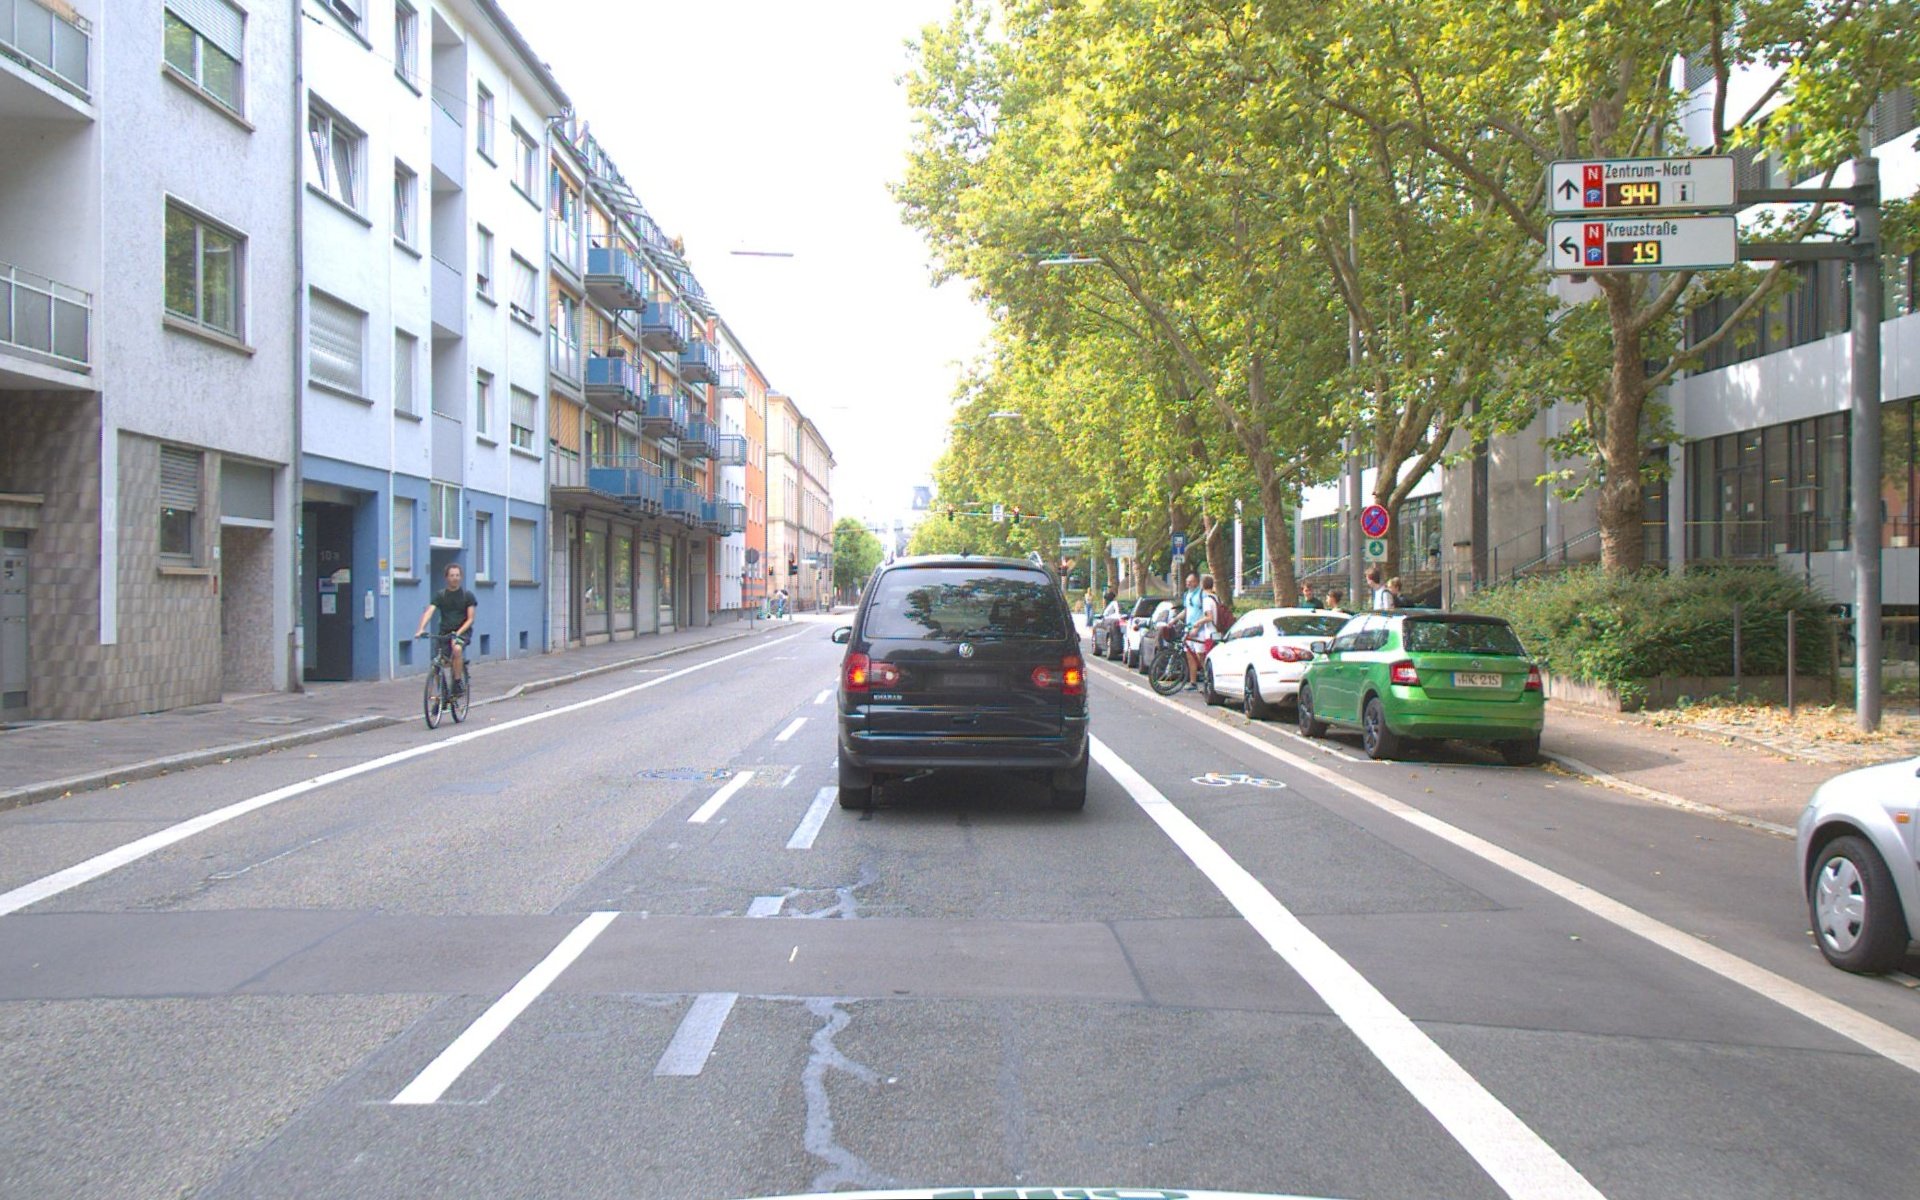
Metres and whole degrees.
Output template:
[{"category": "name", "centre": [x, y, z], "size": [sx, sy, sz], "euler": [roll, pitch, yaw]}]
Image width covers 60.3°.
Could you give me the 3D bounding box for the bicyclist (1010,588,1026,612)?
[{"category": "bicyclist", "centre": [3.693, 0.011, 105.522], "size": [0.899, 1.491, 0.568], "euler": [1, 0, -14]}]

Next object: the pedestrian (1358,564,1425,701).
[{"category": "pedestrian", "centre": [6.513, 0.483, 25.004], "size": [0.777, 2.032, 0.750], "euler": [1, 0, -1]}]

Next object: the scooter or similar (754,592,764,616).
[{"category": "scooter or similar", "centre": [-10.210, 0.213, 83.893], "size": [0.370, 1.204, 1.389], "euler": [0, -1, -1]}]

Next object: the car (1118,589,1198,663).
[{"category": "car", "centre": [4.389, 0.554, 36.931], "size": [1.504, 1.570, 2.600], "euler": [2, 0, 2]}]

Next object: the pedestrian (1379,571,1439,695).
[{"category": "pedestrian", "centre": [6.988, 0.510, 25.756], "size": [0.706, 1.887, 0.703], "euler": [1, 0, -1]}]

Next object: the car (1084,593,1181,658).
[{"category": "car", "centre": [4.228, 0.591, 41.068], "size": [1.664, 1.450, 4.419], "euler": [2, 0, -4]}]

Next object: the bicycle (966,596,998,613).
[{"category": "bicycle", "centre": [1.383, 0.302, 103.913], "size": [1.890, 1.046, 0.582], "euler": [1, 0, -11]}]

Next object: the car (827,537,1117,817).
[{"category": "car", "centre": [0.015, 0.471, 12.794], "size": [1.836, 1.775, 4.572], "euler": [0, 0, -2]}]

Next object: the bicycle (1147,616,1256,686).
[{"category": "bicycle", "centre": [4.018, 0.846, 27.521], "size": [1.704, 1.125, 0.550], "euler": [1, 0, -13]}]

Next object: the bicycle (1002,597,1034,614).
[{"category": "bicycle", "centre": [3.696, 0.371, 105.519], "size": [1.892, 1.046, 0.581], "euler": [1, 0, -14]}]

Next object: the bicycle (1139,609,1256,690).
[{"category": "bicycle", "centre": [3.760, 0.784, 26.192], "size": [1.762, 1.238, 0.550], "euler": [1, 0, -19]}]

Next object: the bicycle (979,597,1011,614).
[{"category": "bicycle", "centre": [2.156, 0.347, 102.388], "size": [1.890, 1.046, 0.582], "euler": [1, 0, -11]}]

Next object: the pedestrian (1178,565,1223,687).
[{"category": "pedestrian", "centre": [3.955, 0.422, 27.249], "size": [0.466, 1.968, 0.742], "euler": [1, 0, -12]}]

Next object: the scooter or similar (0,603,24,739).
[{"category": "scooter or similar", "centre": [-8.972, 0.653, 14.937], "size": [0.342, 1.243, 1.201], "euler": [1, 0, -1]}]

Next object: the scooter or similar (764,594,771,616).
[{"category": "scooter or similar", "centre": [-10.489, 0.264, 90.179], "size": [0.370, 1.167, 1.141], "euler": [0, -1, -4]}]

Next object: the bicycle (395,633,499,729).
[{"category": "bicycle", "centre": [-6.149, 0.940, 19.926], "size": [0.633, 1.032, 2.076], "euler": [-1, 0, -1]}]

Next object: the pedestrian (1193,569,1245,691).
[{"category": "pedestrian", "centre": [4.067, 0.468, 25.977], "size": [0.511, 1.877, 0.741], "euler": [1, 0, -16]}]

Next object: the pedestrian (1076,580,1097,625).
[{"category": "pedestrian", "centre": [5.222, 0.117, 68.209], "size": [0.696, 1.814, 1.033], "euler": [-2, 0, -2]}]

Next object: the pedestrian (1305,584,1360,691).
[{"category": "pedestrian", "centre": [6.013, 0.599, 26.717], "size": [0.706, 1.687, 0.655], "euler": [1, 0, -1]}]

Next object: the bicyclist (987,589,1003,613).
[{"category": "bicyclist", "centre": [2.179, 0.071, 102.378], "size": [0.898, 1.491, 0.568], "euler": [1, 0, -12]}]

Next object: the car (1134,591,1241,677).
[{"category": "car", "centre": [4.363, 0.610, 32.132], "size": [1.497, 1.528, 3.659], "euler": [2, 0, -1]}]

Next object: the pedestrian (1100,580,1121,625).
[{"category": "pedestrian", "centre": [6.208, 0.095, 68.194], "size": [0.700, 1.831, 1.033], "euler": [-2, 0, -2]}]

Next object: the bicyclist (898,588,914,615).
[{"category": "bicyclist", "centre": [-3.159, 0.079, 96.987], "size": [0.839, 1.594, 0.576], "euler": [1, 0, -9]}]

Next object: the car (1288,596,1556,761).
[{"category": "car", "centre": [4.748, 0.741, 17.536], "size": [1.556, 1.475, 3.803], "euler": [2, 0, -3]}]

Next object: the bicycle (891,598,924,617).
[{"category": "bicycle", "centre": [-3.069, 0.441, 97.004], "size": [1.889, 1.046, 0.582], "euler": [1, 0, -10]}]

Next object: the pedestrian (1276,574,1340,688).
[{"category": "pedestrian", "centre": [5.767, 0.512, 27.469], "size": [0.853, 1.848, 0.780], "euler": [1, 0, -1]}]

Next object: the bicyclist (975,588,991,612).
[{"category": "bicyclist", "centre": [1.450, -0.001, 103.925], "size": [0.898, 1.491, 0.568], "euler": [1, 0, -11]}]

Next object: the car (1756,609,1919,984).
[{"category": "car", "centre": [4.715, 0.826, 5.871], "size": [1.611, 1.472, 3.878], "euler": [2, 0, -5]}]

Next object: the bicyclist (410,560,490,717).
[{"category": "bicyclist", "centre": [-6.156, 0.451, 20.011], "size": [0.638, 1.842, 1.045], "euler": [-1, 0, -1]}]

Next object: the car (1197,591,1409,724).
[{"category": "car", "centre": [4.508, 0.689, 22.427], "size": [1.647, 1.542, 4.541], "euler": [2, 0, -3]}]

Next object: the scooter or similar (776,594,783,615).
[{"category": "scooter or similar", "centre": [-9.885, 0.260, 90.538], "size": [0.370, 1.164, 1.141], "euler": [0, -1, -4]}]
